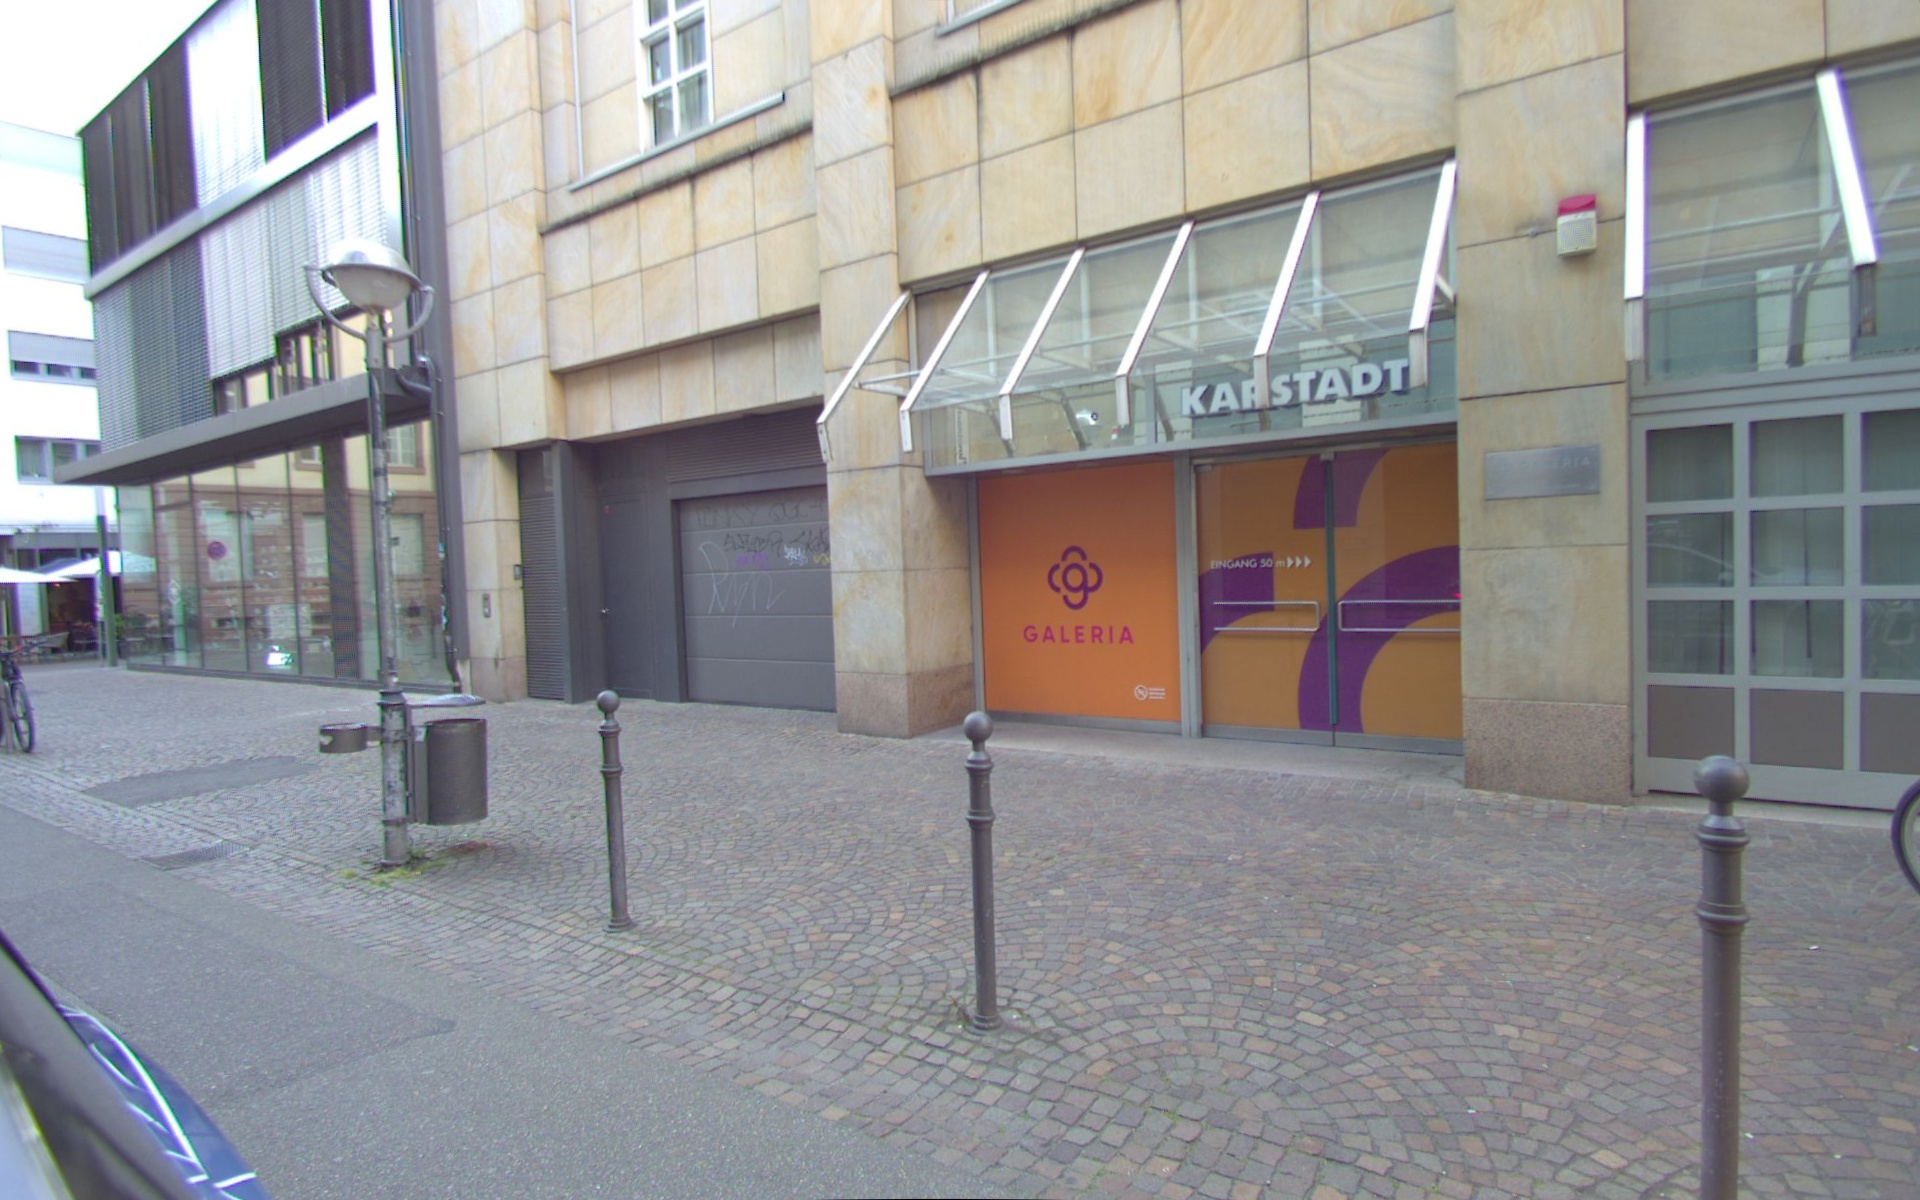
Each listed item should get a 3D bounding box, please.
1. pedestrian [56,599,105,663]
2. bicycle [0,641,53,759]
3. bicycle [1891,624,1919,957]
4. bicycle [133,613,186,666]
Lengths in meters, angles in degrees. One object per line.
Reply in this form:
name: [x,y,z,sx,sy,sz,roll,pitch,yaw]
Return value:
pedestrian: [-23.769,0.829,27.352,0.789,1.661,0.718,-2,1,30]
bicycle: [-10.289,1.026,10.746,1.924,1.141,0.407,-1,2,32]
bicycle: [4.116,0.661,3.101,0.685,1.120,1.779,-3,1,-40]
bicycle: [-18.786,0.938,23.739,1.699,1.144,0.461,-4,0,35]
